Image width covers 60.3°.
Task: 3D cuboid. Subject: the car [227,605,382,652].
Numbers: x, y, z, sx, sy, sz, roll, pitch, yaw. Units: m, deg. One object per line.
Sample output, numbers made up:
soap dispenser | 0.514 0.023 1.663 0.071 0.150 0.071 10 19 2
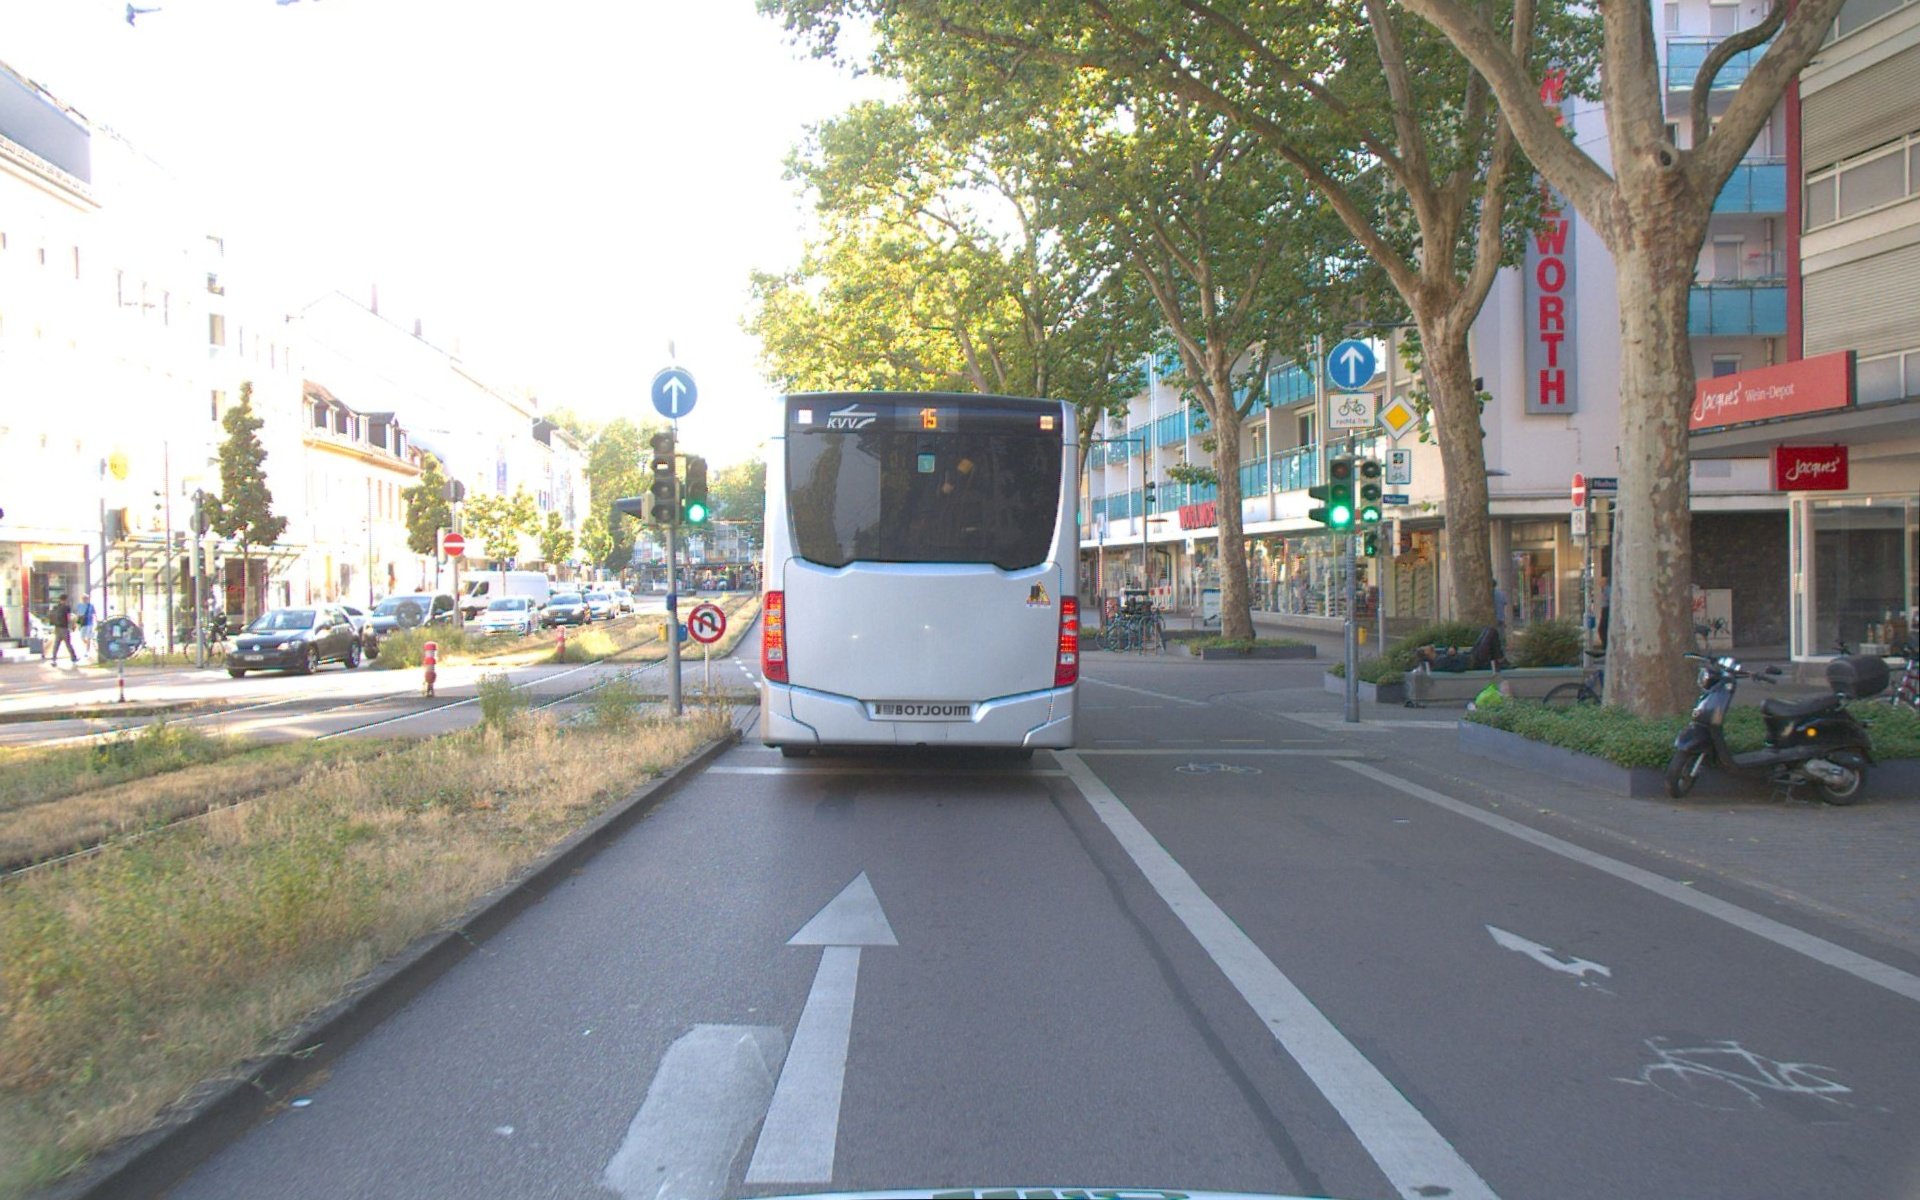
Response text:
car | -22.096 0.939 55.830 4.505 1.437 1.973 -1 0 -38

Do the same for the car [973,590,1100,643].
car | 2.424 0.510 51.764 1.964 1.557 3.978 -1 0 41

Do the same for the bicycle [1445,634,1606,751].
bicycle | 5.863 0.951 17.173 1.478 1.124 0.460 2 0 -1

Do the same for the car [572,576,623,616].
car | -18.886 -0.207 86.281 1.954 2.049 3.997 -1 0 -4

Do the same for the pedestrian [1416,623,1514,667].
pedestrian | 7.107 0.633 23.288 1.229 0.599 0.482 0 0 -3

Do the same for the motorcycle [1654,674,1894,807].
motorcycle | 6.087 1.039 12.396 1.539 0.908 0.544 -1 0 -4

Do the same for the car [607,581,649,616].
car | -20.239 -0.072 100.847 1.954 2.049 3.997 -1 0 -4

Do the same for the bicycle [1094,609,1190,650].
bicycle | 4.586 0.748 41.793 2.267 0.956 0.835 -1 1 -9

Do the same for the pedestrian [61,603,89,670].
pedestrian | -23.114 0.942 43.194 0.417 1.743 0.508 -1 0 3

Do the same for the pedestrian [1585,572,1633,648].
pedestrian | 14.912 0.218 38.020 0.733 1.708 0.834 -1 2 -7

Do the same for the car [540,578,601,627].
car | -17.215 0.105 73.182 1.954 2.049 3.997 -1 0 -4

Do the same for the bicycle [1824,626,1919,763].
bicycle | 9.331 0.853 15.659 1.836 1.210 0.712 -4 0 7

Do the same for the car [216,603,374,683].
car | -14.691 0.901 36.771 1.744 1.475 4.045 -3 1 1

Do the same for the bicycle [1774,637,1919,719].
bicycle | 9.370 0.780 16.791 1.836 0.779 0.712 -1 0 7

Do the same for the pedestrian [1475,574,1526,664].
pedestrian | 11.141 0.382 34.128 0.764 1.825 0.764 -1 0 -1

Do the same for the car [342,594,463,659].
car | -15.426 0.685 46.000 1.744 1.643 4.509 -2 1 1

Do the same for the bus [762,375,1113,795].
bus | -0.266 -0.137 15.965 2.624 3.137 7.112 0 0 -2

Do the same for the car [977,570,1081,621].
car | 2.814 -0.200 66.797 3.966 2.004 1.970 -1 0 -42

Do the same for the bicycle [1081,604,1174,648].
bicycle | 4.340 0.669 42.995 2.267 1.046 0.835 -1 1 -9

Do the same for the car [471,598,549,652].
car | -15.880 0.847 58.547 1.860 1.836 3.997 -1 0 -4
